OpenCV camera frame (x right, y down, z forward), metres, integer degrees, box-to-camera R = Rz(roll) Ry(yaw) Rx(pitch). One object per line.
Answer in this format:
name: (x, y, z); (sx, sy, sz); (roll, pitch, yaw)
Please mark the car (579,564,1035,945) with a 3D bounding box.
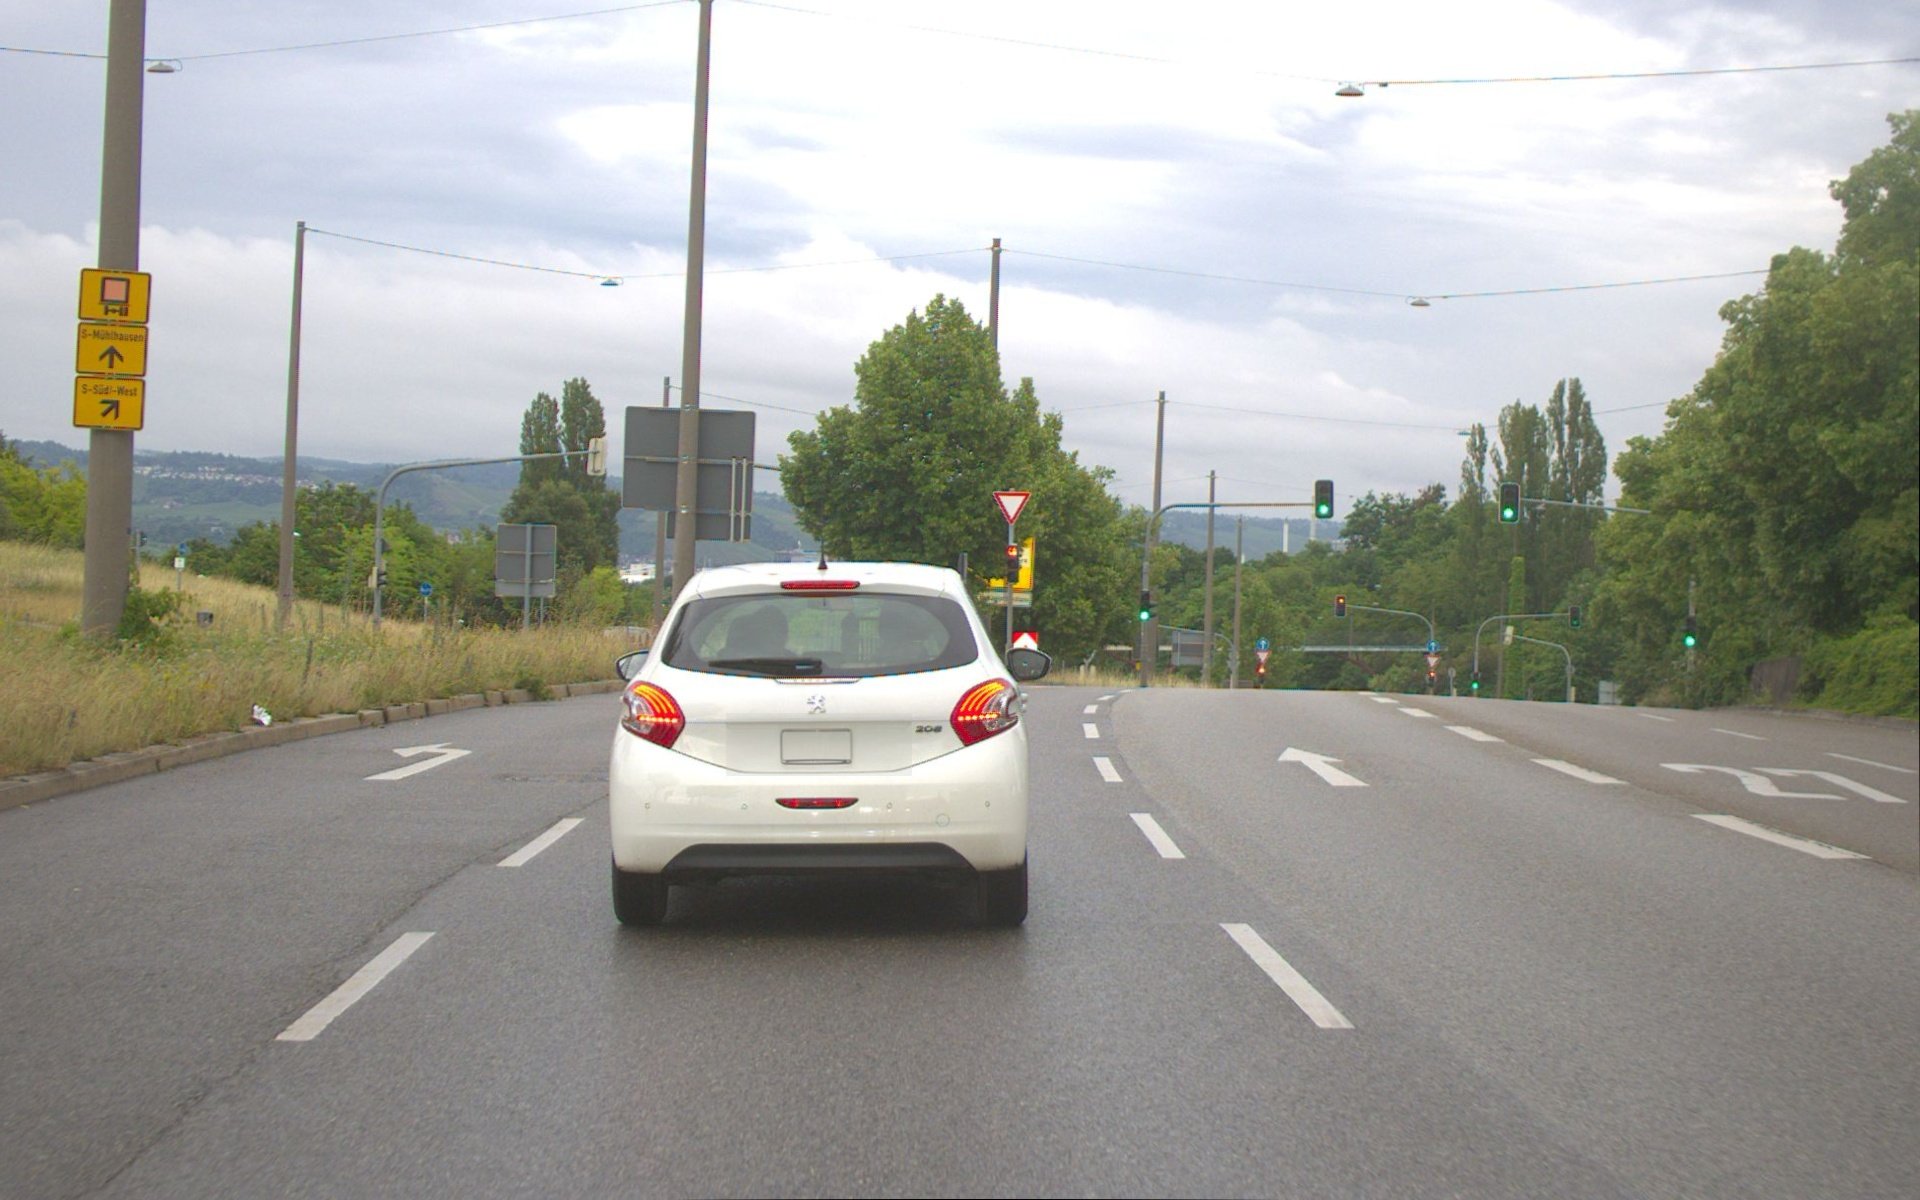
car: (-0.547, 0.572, 15.016); (1.708, 1.435, 3.690); (0, 1, 2)
